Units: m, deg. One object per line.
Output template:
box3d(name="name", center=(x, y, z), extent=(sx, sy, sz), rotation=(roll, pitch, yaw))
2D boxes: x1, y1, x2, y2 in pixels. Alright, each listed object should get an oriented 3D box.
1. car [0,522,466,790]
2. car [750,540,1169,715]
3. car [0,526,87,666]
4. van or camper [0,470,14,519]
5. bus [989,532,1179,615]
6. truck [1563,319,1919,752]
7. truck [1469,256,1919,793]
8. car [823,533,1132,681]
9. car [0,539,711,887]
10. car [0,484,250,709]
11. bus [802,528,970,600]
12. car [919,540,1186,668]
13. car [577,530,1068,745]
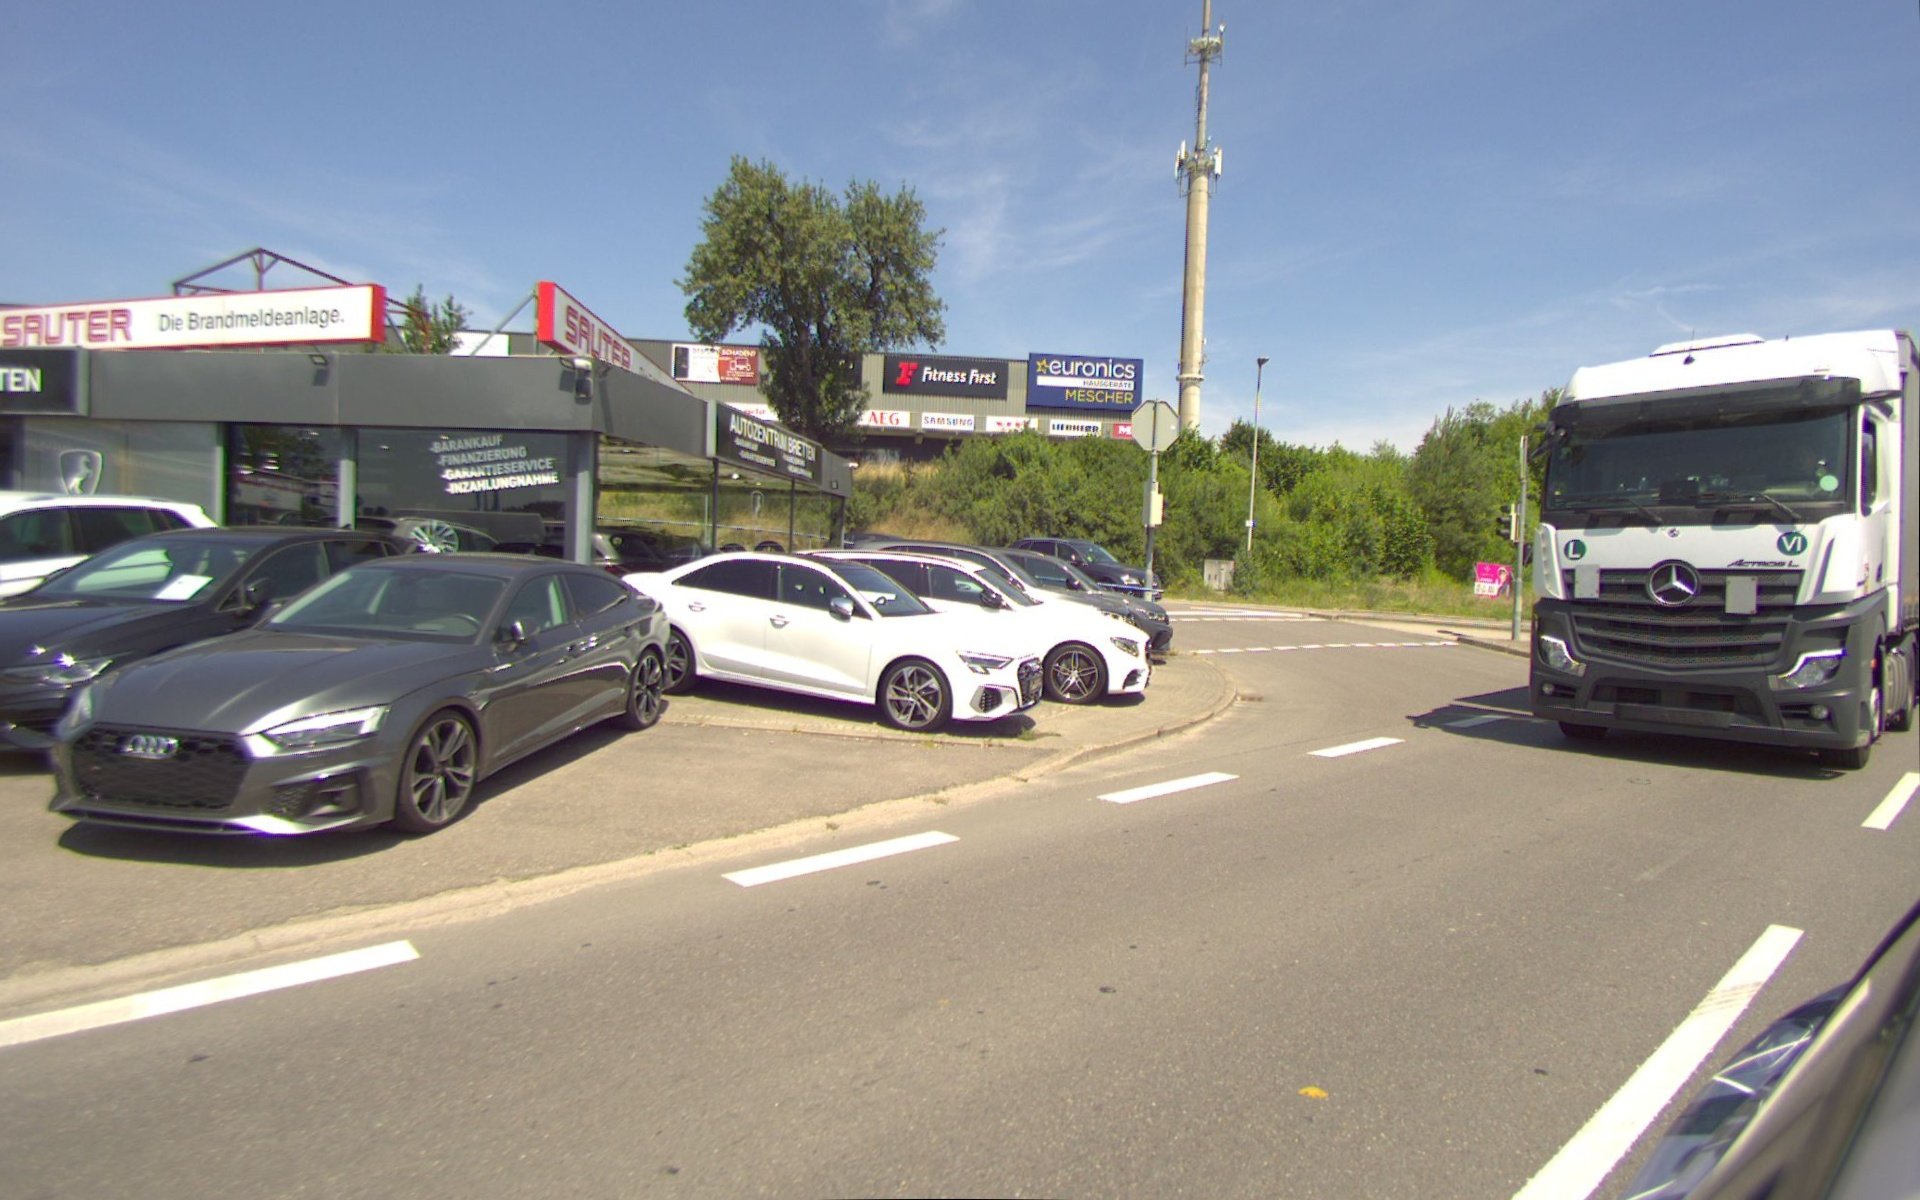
box3d(name="car", center=(-5.893, 0.152, 7.828), extent=(1.822, 1.436, 4.163), rotation=(3, 5, 6))
box3d(name="car", center=(0.067, 0.229, 12.239), extent=(4.665, 1.571, 1.994), rotation=(4, 3, 11))
box3d(name="car", center=(-10.444, 0.035, 8.841), extent=(1.822, 1.326, 4.145), rotation=(3, 5, 6))
box3d(name="van or camper", center=(-28.550, -2.997, 27.382), extent=(1.829, 1.374, 3.984), rotation=(1, 1, 14))
box3d(name="bus", center=(3.093, -0.762, 25.937), extent=(4.491, 1.669, 1.915), rotation=(8, 7, 42))
box3d(name="truck", center=(13.159, -0.717, 15.244), extent=(13.883, 4.058, 2.978), rotation=(0, 4, -43))
box3d(name="truck", center=(8.386, -0.660, 10.856), extent=(6.218, 4.058, 2.979), rotation=(0, 4, -42))
box3d(name="car", center=(0.313, 0.026, 14.704), extent=(4.113, 1.712, 1.877), rotation=(4, 3, 13))
box3d(name="car", center=(-3.517, 0.356, 7.061), extent=(1.894, 1.403, 4.931), rotation=(3, 5, 6))
box3d(name="car", center=(-8.276, -0.086, 8.237), extent=(1.822, 1.734, 4.145), rotation=(3, 5, 6))
box3d(name="bus", center=(-2.157, -1.105, 29.343), extent=(4.458, 1.669, 1.928), rotation=(6, 6, 24))
box3d(name="car", center=(1.591, -0.003, 16.875), extent=(4.124, 1.712, 1.877), rotation=(4, 3, 14))
box3d(name="car", center=(-1.333, 0.239, 9.956), extent=(4.421, 1.426, 1.736), rotation=(6, 3, 19))
